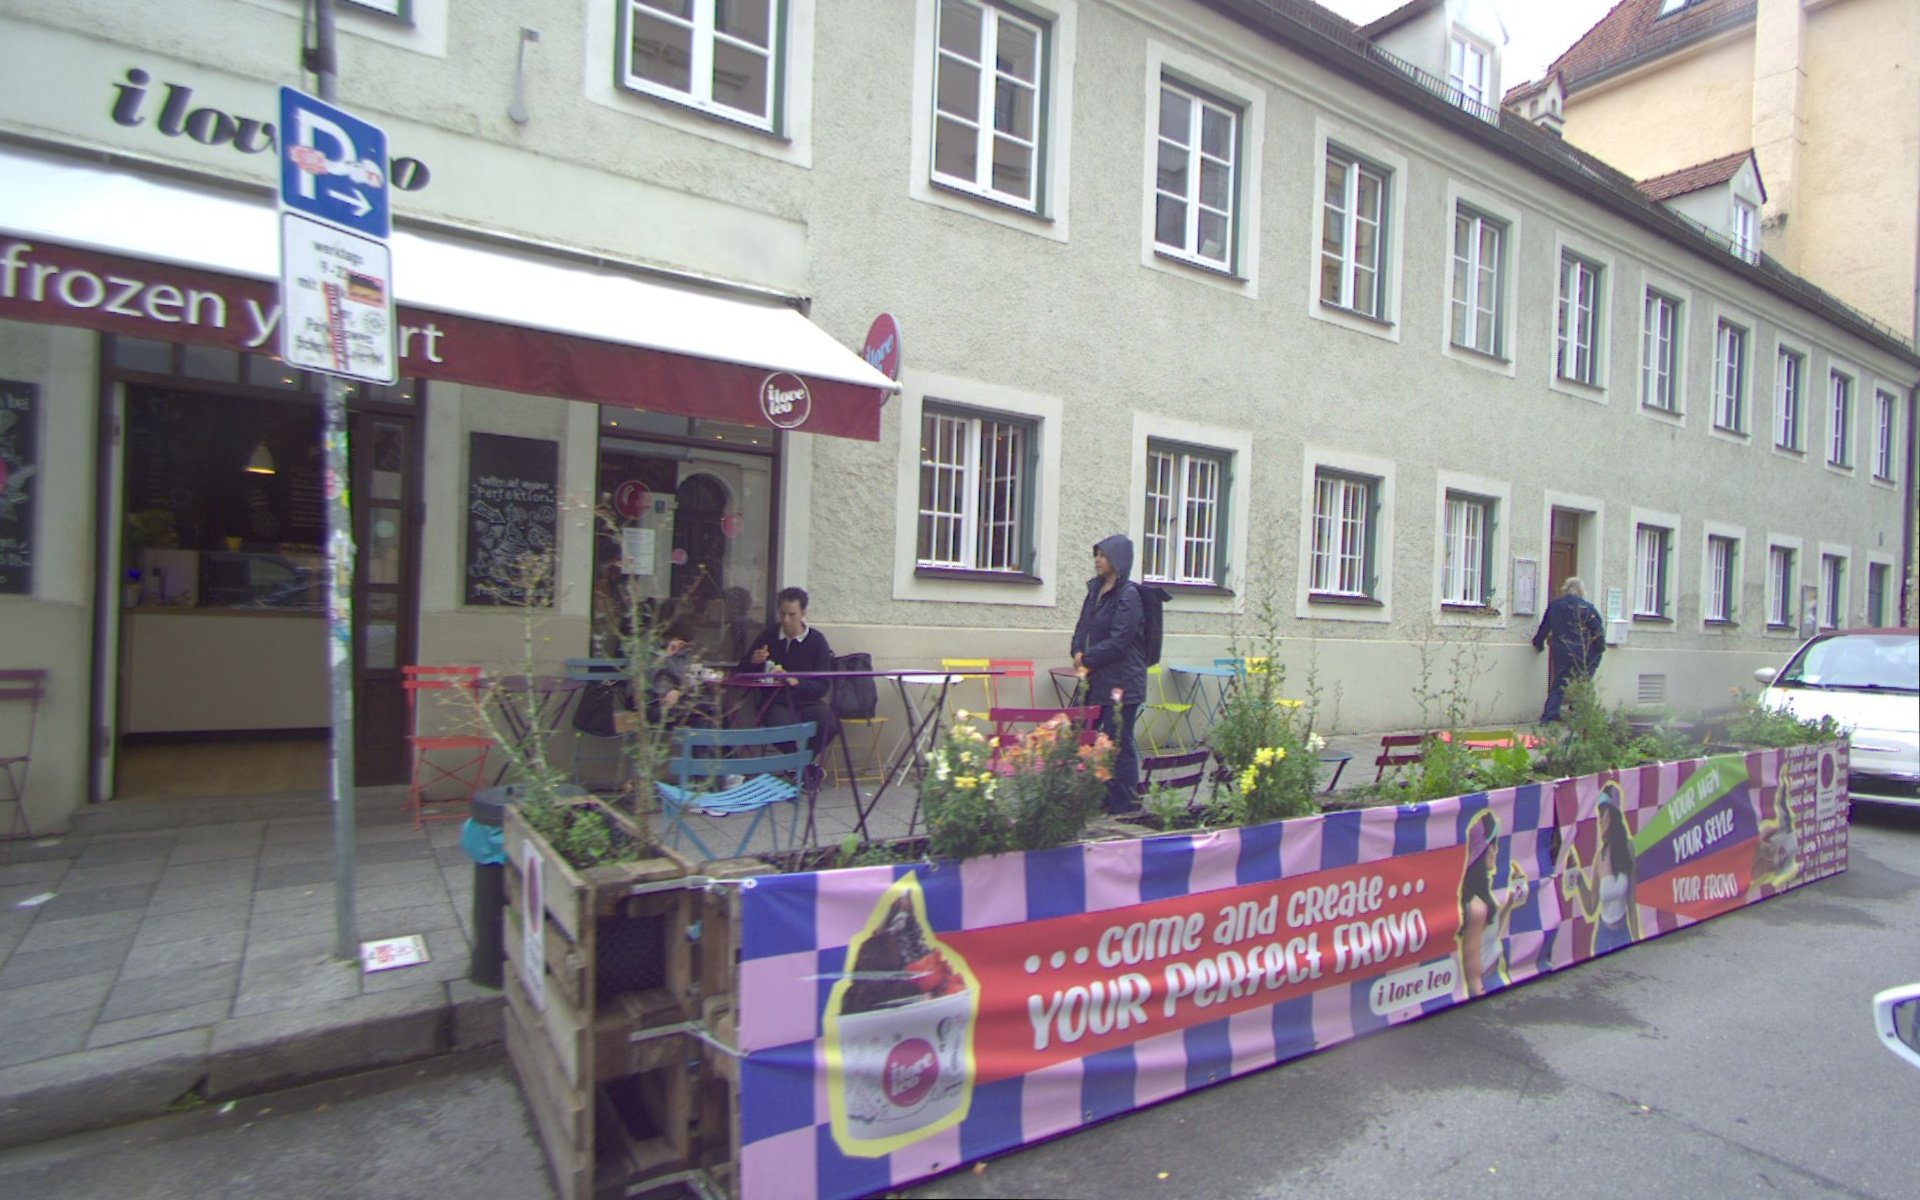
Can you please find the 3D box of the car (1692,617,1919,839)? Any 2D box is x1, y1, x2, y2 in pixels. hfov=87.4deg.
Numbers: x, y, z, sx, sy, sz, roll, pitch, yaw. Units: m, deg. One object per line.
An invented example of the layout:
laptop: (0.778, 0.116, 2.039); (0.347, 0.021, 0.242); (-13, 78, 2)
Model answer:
car: (7.951, 0.956, 8.499); (3.678, 1.495, 1.743); (2, 1, -36)

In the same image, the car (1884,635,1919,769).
car: (12.158, 1.106, 11.112); (4.636, 1.357, 1.787); (1, 0, -34)

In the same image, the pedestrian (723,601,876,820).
pedestrian: (-1.060, 0.680, 6.554); (0.686, 1.307, 0.799); (3, -1, -32)

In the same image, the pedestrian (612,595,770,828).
pedestrian: (-1.663, 0.641, 6.170); (0.686, 1.307, 0.799); (3, -1, -32)

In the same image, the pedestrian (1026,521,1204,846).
pedestrian: (0.933, 0.480, 6.027); (0.868, 1.805, 0.525); (3, -1, -32)

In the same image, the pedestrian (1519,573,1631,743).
pedestrian: (7.309, 0.672, 11.943); (0.819, 1.922, 0.818); (3, -1, -33)
